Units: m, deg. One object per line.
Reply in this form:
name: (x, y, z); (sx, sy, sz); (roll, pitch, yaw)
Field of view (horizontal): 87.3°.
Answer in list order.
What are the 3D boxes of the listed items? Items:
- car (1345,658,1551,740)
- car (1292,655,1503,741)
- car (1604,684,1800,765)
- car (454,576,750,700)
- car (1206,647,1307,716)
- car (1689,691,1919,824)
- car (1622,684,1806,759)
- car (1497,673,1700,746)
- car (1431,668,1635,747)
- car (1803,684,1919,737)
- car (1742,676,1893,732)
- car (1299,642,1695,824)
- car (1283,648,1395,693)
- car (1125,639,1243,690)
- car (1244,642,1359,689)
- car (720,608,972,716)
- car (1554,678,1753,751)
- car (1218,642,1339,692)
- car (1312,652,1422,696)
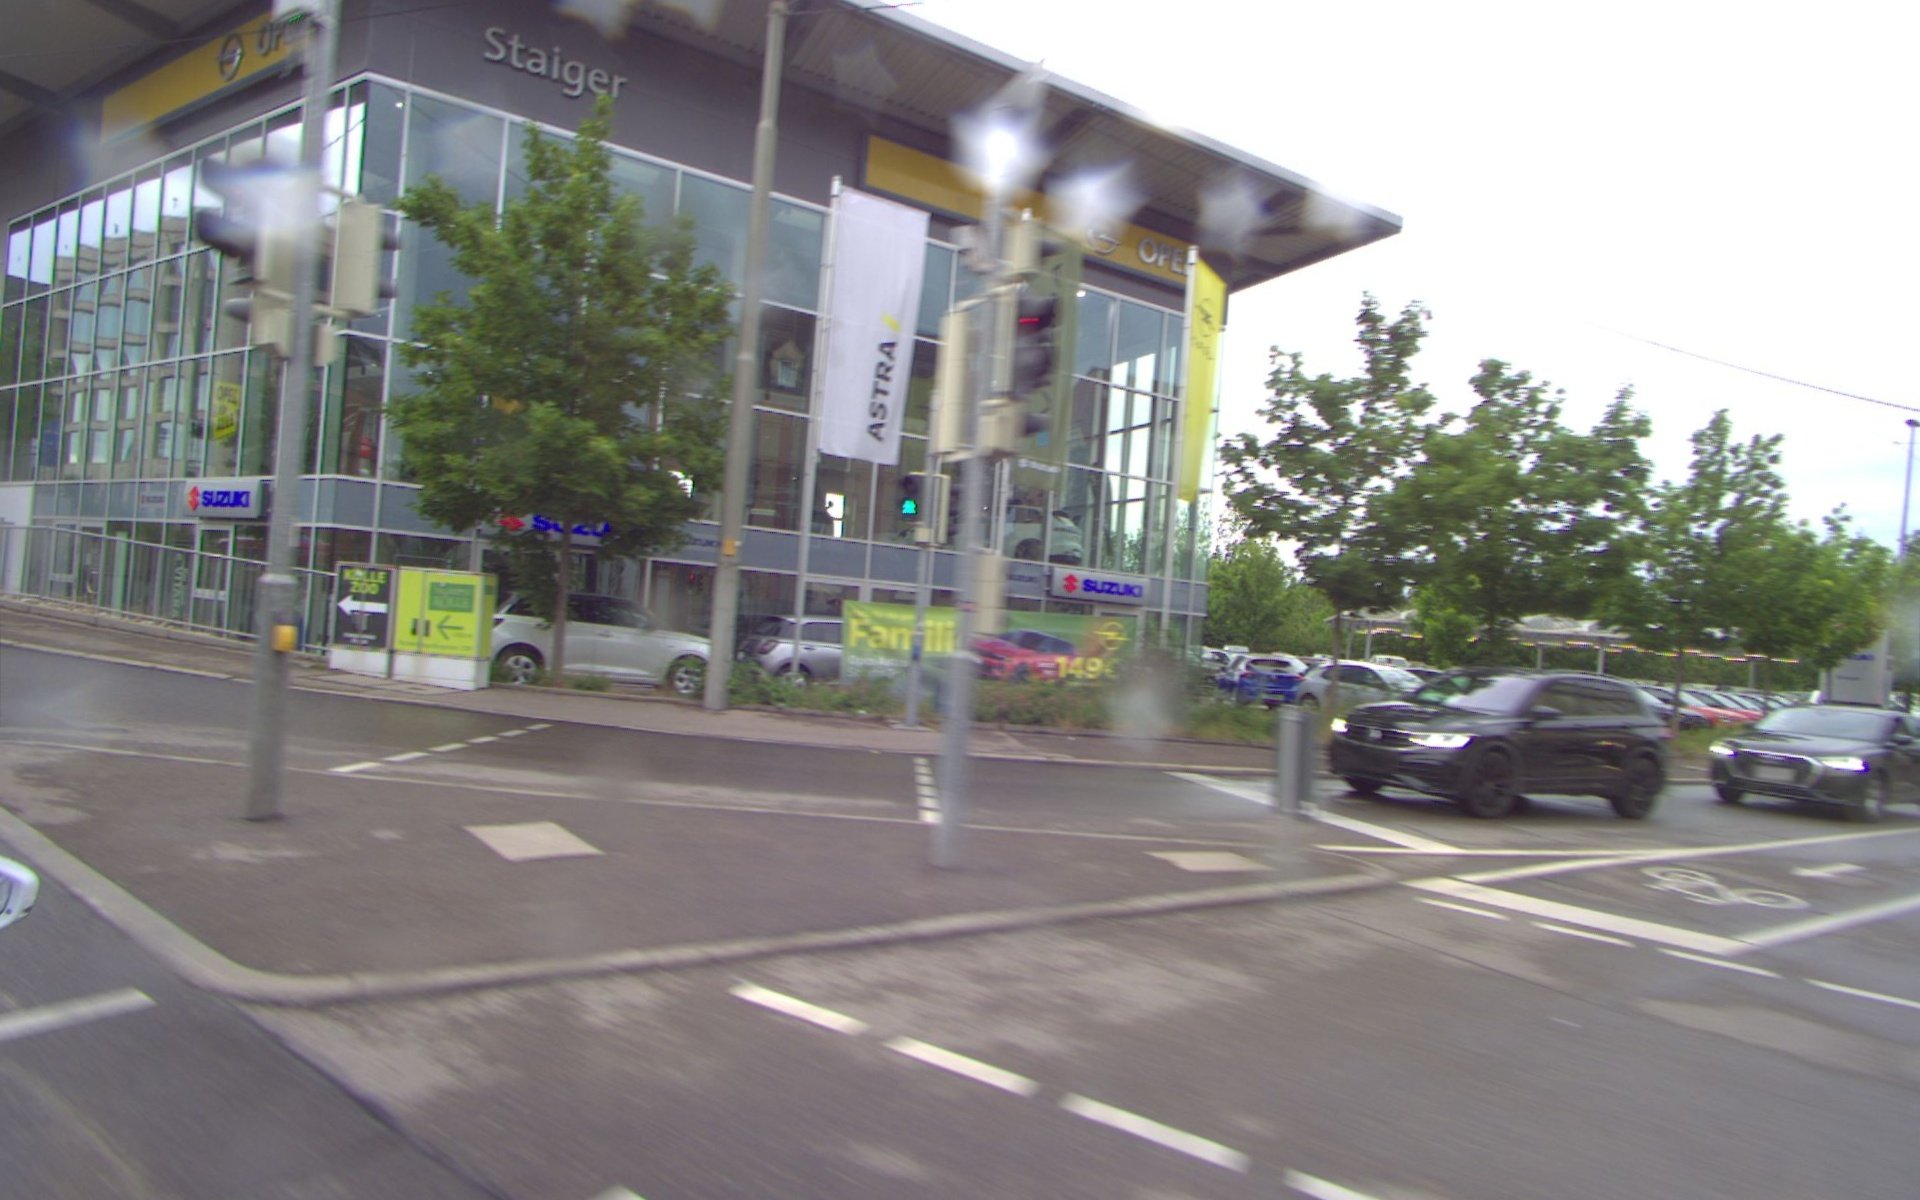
car: (11.236, 2.251, 23.417); (1.704, 1.300, 3.970); (6, 0, -29)
car: (9.514, 2.106, 22.186); (1.704, 1.288, 3.970); (6, 0, -29)
car: (20.710, 3.436, 28.253); (1.704, 1.616, 3.970); (6, 0, -29)
car: (-5.527, 0.640, 15.631); (3.957, 1.525, 1.885); (6, -4, -31)
car: (7.689, 2.079, 26.447); (1.790, 1.470, 4.005); (6, -2, 8)
car: (12.850, 2.306, 14.742); (4.205, 1.523, 1.792); (6, -1, -29)
car: (22.540, 3.602, 30.216); (1.704, 1.616, 3.970); (6, 0, -29)
car: (16.203, 2.755, 25.746); (1.704, 1.265, 3.970); (6, 0, -29)
car: (13.927, 2.586, 24.686); (1.704, 1.323, 3.970); (6, 0, -29)
car: (34.814, 4.221, 37.845); (1.704, 1.509, 4.345); (6, 0, -29)
car: (31.610, 3.811, 37.196); (1.704, 1.509, 3.785); (6, 0, -29)
car: (6.305, 1.563, 11.793); (4.199, 1.683, 1.795); (6, -1, -24)
car: (15.565, 2.873, 41.499); (1.891, 1.323, 3.970); (6, 0, -29)
car: (7.993, 2.306, 36.273); (1.891, 1.323, 3.970); (6, 0, -29)
car: (13.423, 2.554, 39.746); (1.891, 1.323, 3.970); (6, 0, -29)
car: (-2.003, 1.099, 17.715); (3.950, 1.548, 1.815); (6, -2, -26)
car: (18.471, 3.033, 26.993); (1.704, 1.323, 3.970); (6, 0, -29)
car: (11.778, 2.451, 37.449); (1.891, 1.323, 3.970); (6, 0, -29)
car: (17.352, 3.144, 43.076); (1.891, 1.323, 3.970); (6, 0, -29)
